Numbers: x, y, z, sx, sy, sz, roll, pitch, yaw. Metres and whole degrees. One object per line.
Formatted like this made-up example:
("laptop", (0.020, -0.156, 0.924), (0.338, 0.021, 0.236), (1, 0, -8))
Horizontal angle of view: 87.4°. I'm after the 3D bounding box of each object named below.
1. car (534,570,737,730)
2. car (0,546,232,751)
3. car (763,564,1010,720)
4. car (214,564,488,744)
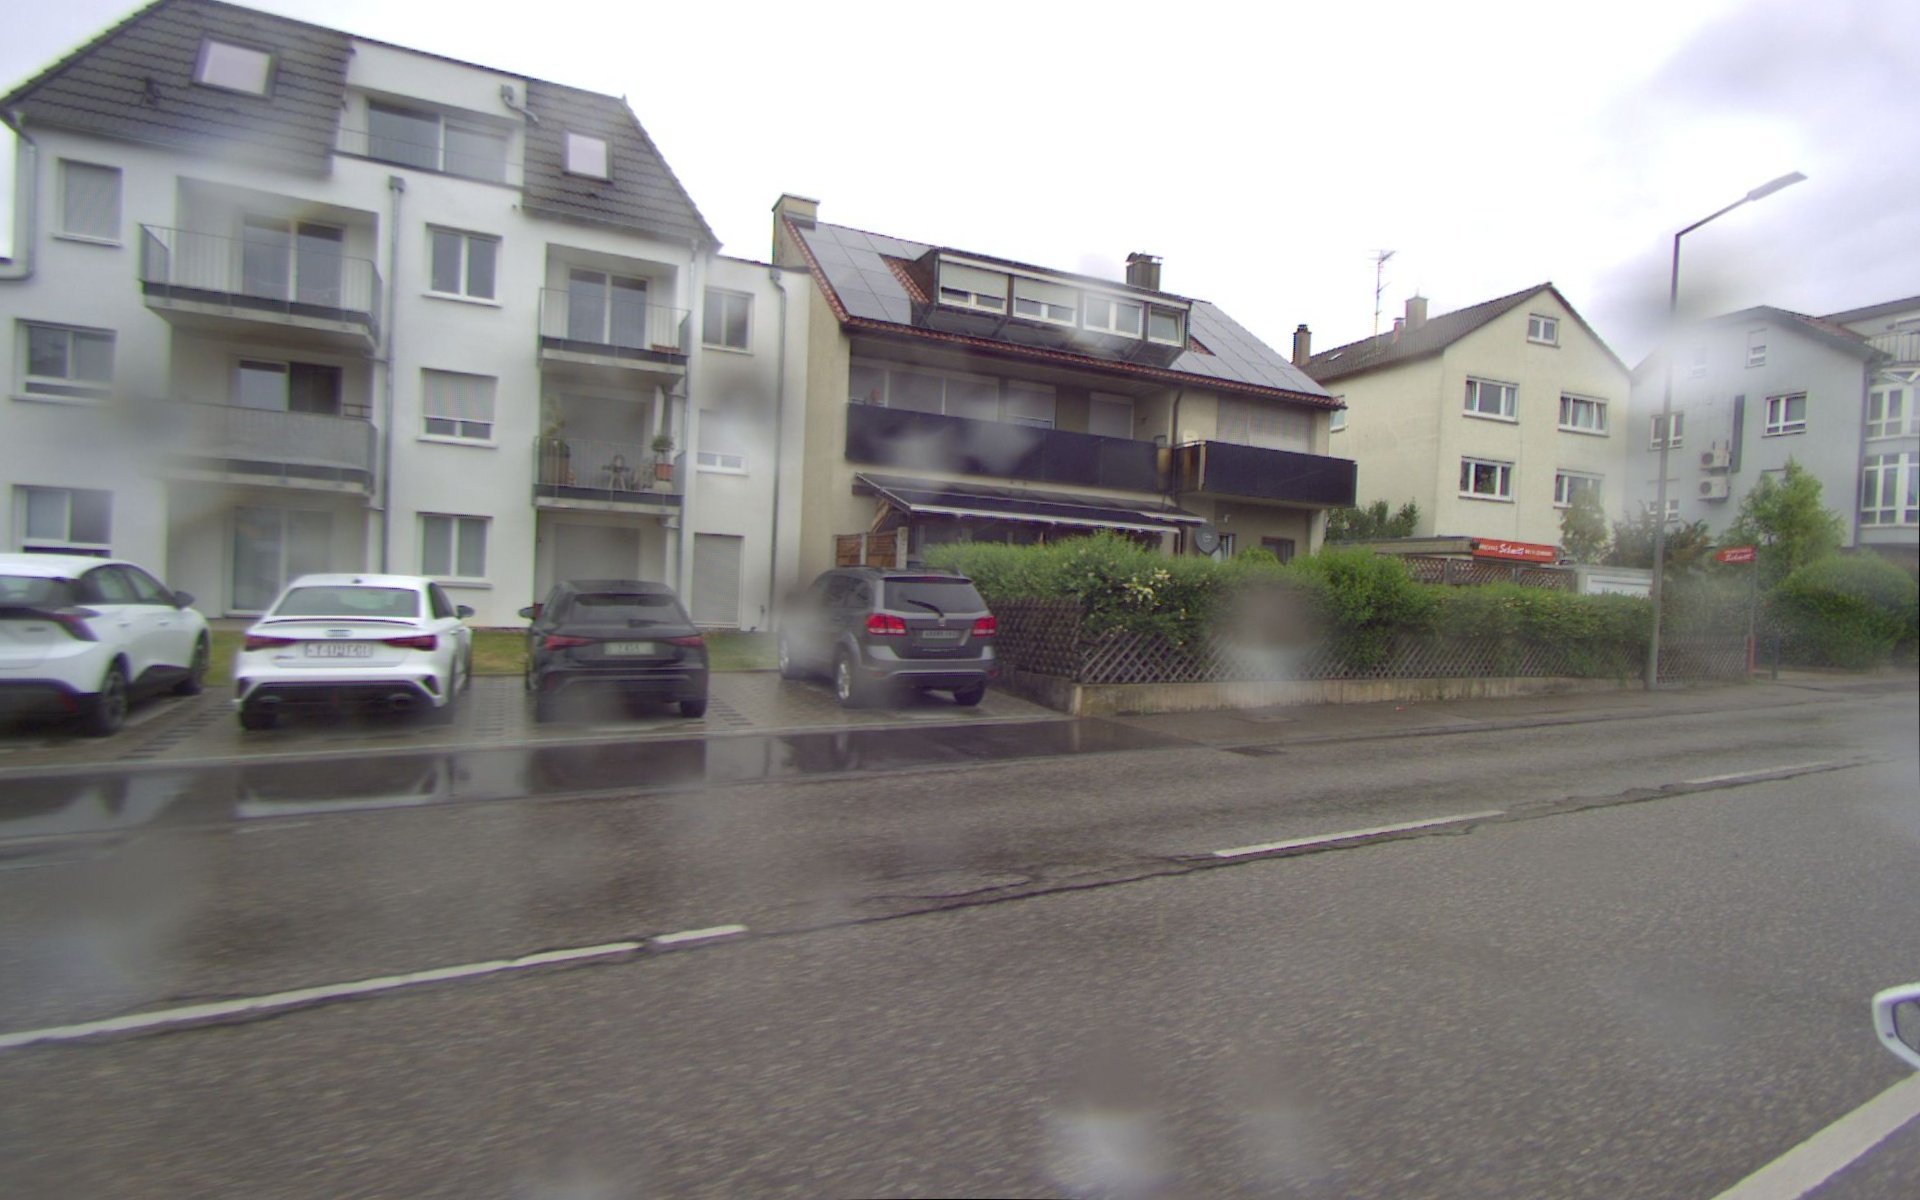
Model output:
("car", (-3.949, 0.440, 11.755), (1.788, 1.461, 4.013), (1, 2, -25))
("car", (-8.589, 0.302, 9.496), (1.973, 1.566, 4.093), (1, 2, -25))
("car", (-1.193, 0.410, 13.481), (1.972, 1.683, 4.447), (1, 2, -23))
("car", (-6.151, 0.406, 10.659), (1.863, 1.461, 4.137), (1, 2, -23))
